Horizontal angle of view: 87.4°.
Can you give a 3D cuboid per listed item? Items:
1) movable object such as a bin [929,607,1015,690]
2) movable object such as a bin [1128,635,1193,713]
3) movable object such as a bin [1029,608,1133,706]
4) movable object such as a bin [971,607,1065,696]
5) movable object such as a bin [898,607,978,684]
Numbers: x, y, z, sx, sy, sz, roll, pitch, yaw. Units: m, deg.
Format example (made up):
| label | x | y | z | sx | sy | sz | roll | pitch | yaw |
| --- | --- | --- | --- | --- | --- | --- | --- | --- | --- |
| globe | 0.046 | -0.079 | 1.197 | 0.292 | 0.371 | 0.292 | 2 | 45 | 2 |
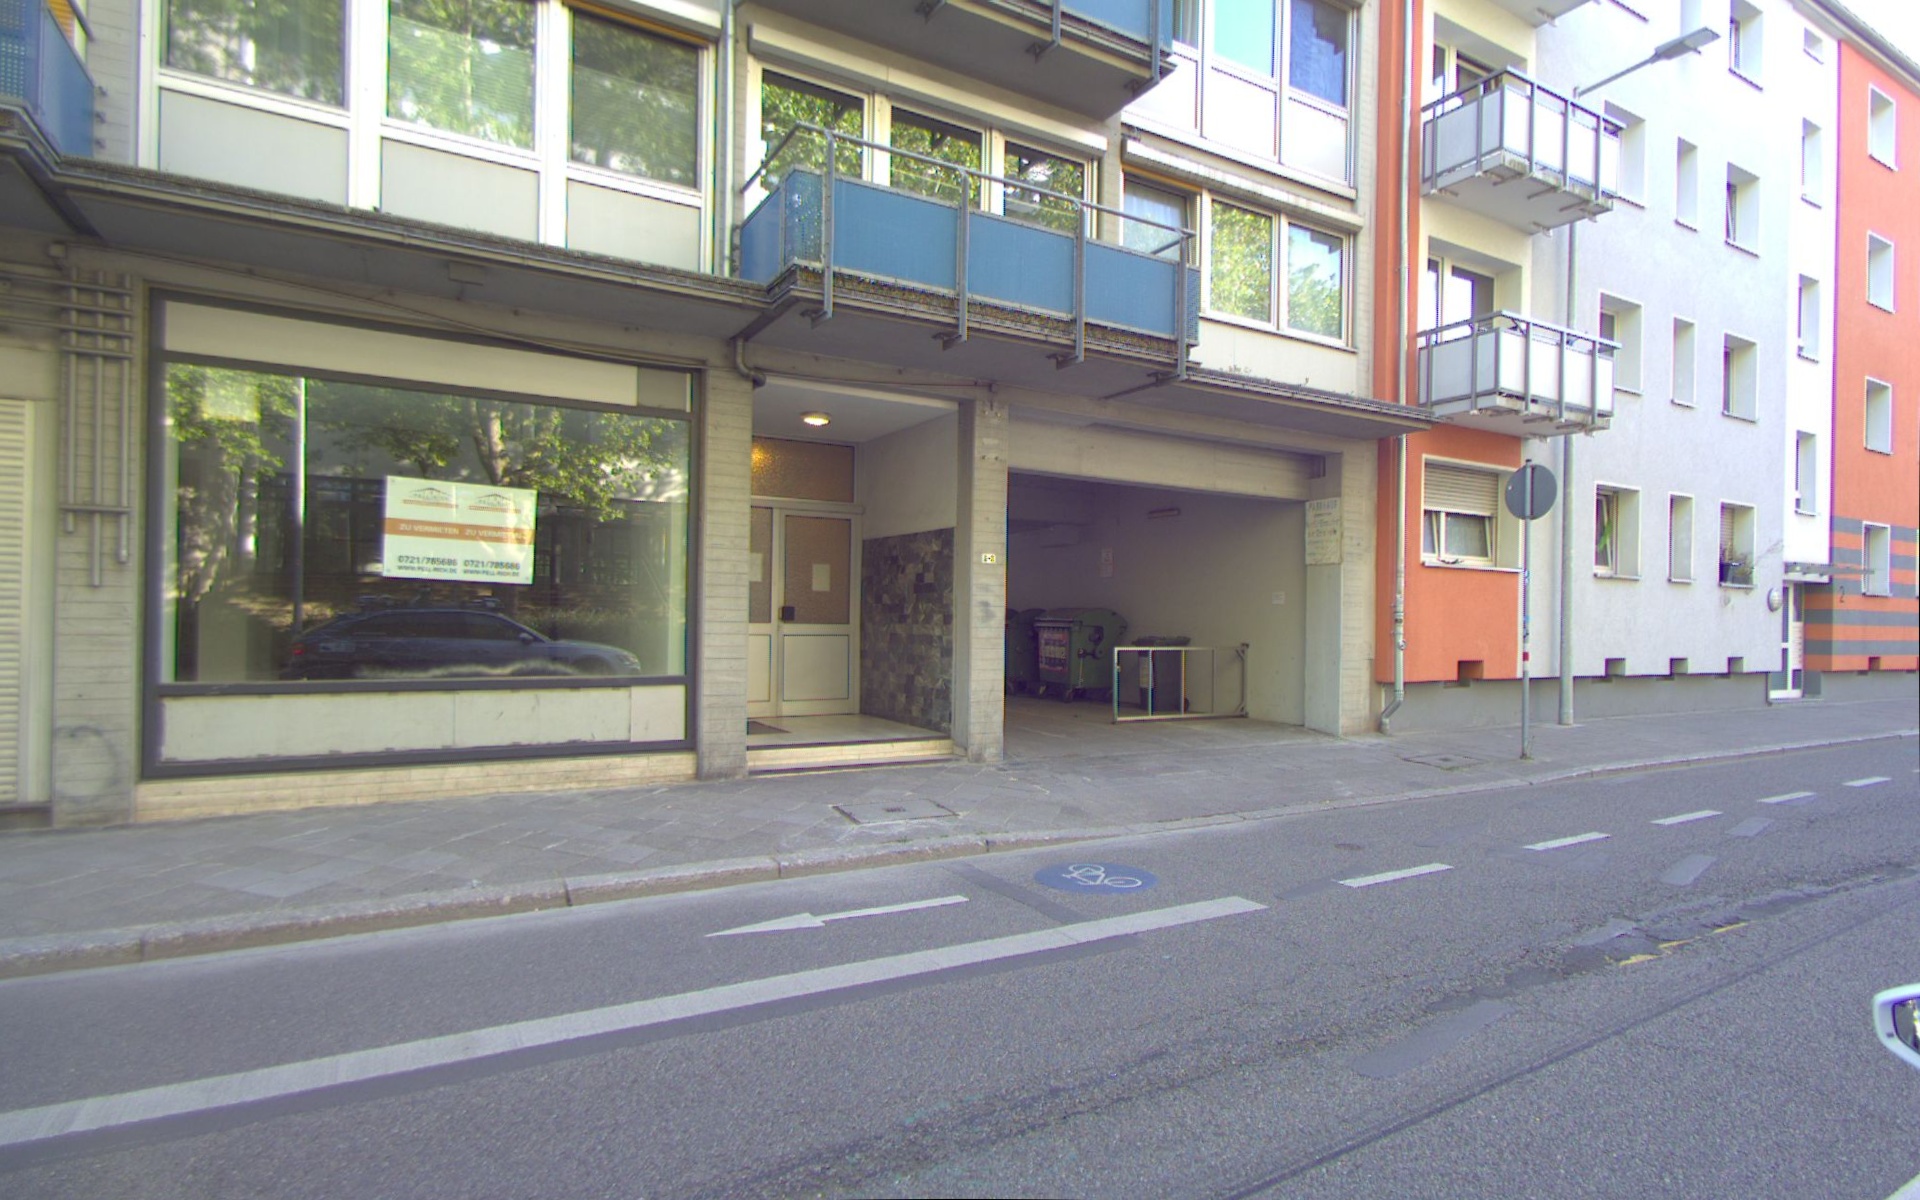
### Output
| label | x | y | z | sx | sy | sz | roll | pitch | yaw |
| --- | --- | --- | --- | --- | --- | --- | --- | --- | --- |
| movable object such as a bin | 0.211 | 0.865 | 18.469 | 1.116 | 1.444 | 1.201 | 1 | 0 | -30 |
| movable object such as a bin | 2.891 | 1.048 | 14.501 | 0.667 | 1.079 | 0.639 | 1 | 0 | -30 |
| movable object such as a bin | 1.893 | 0.865 | 15.811 | 1.116 | 1.444 | 1.201 | 1 | 0 | -30 |
| movable object such as a bin | 0.982 | 0.859 | 17.170 | 1.116 | 1.444 | 1.201 | 1 | 0 | -30 |
| movable object such as a bin | -0.436 | 0.872 | 19.617 | 1.116 | 1.444 | 1.201 | 1 | 0 | -30 |
